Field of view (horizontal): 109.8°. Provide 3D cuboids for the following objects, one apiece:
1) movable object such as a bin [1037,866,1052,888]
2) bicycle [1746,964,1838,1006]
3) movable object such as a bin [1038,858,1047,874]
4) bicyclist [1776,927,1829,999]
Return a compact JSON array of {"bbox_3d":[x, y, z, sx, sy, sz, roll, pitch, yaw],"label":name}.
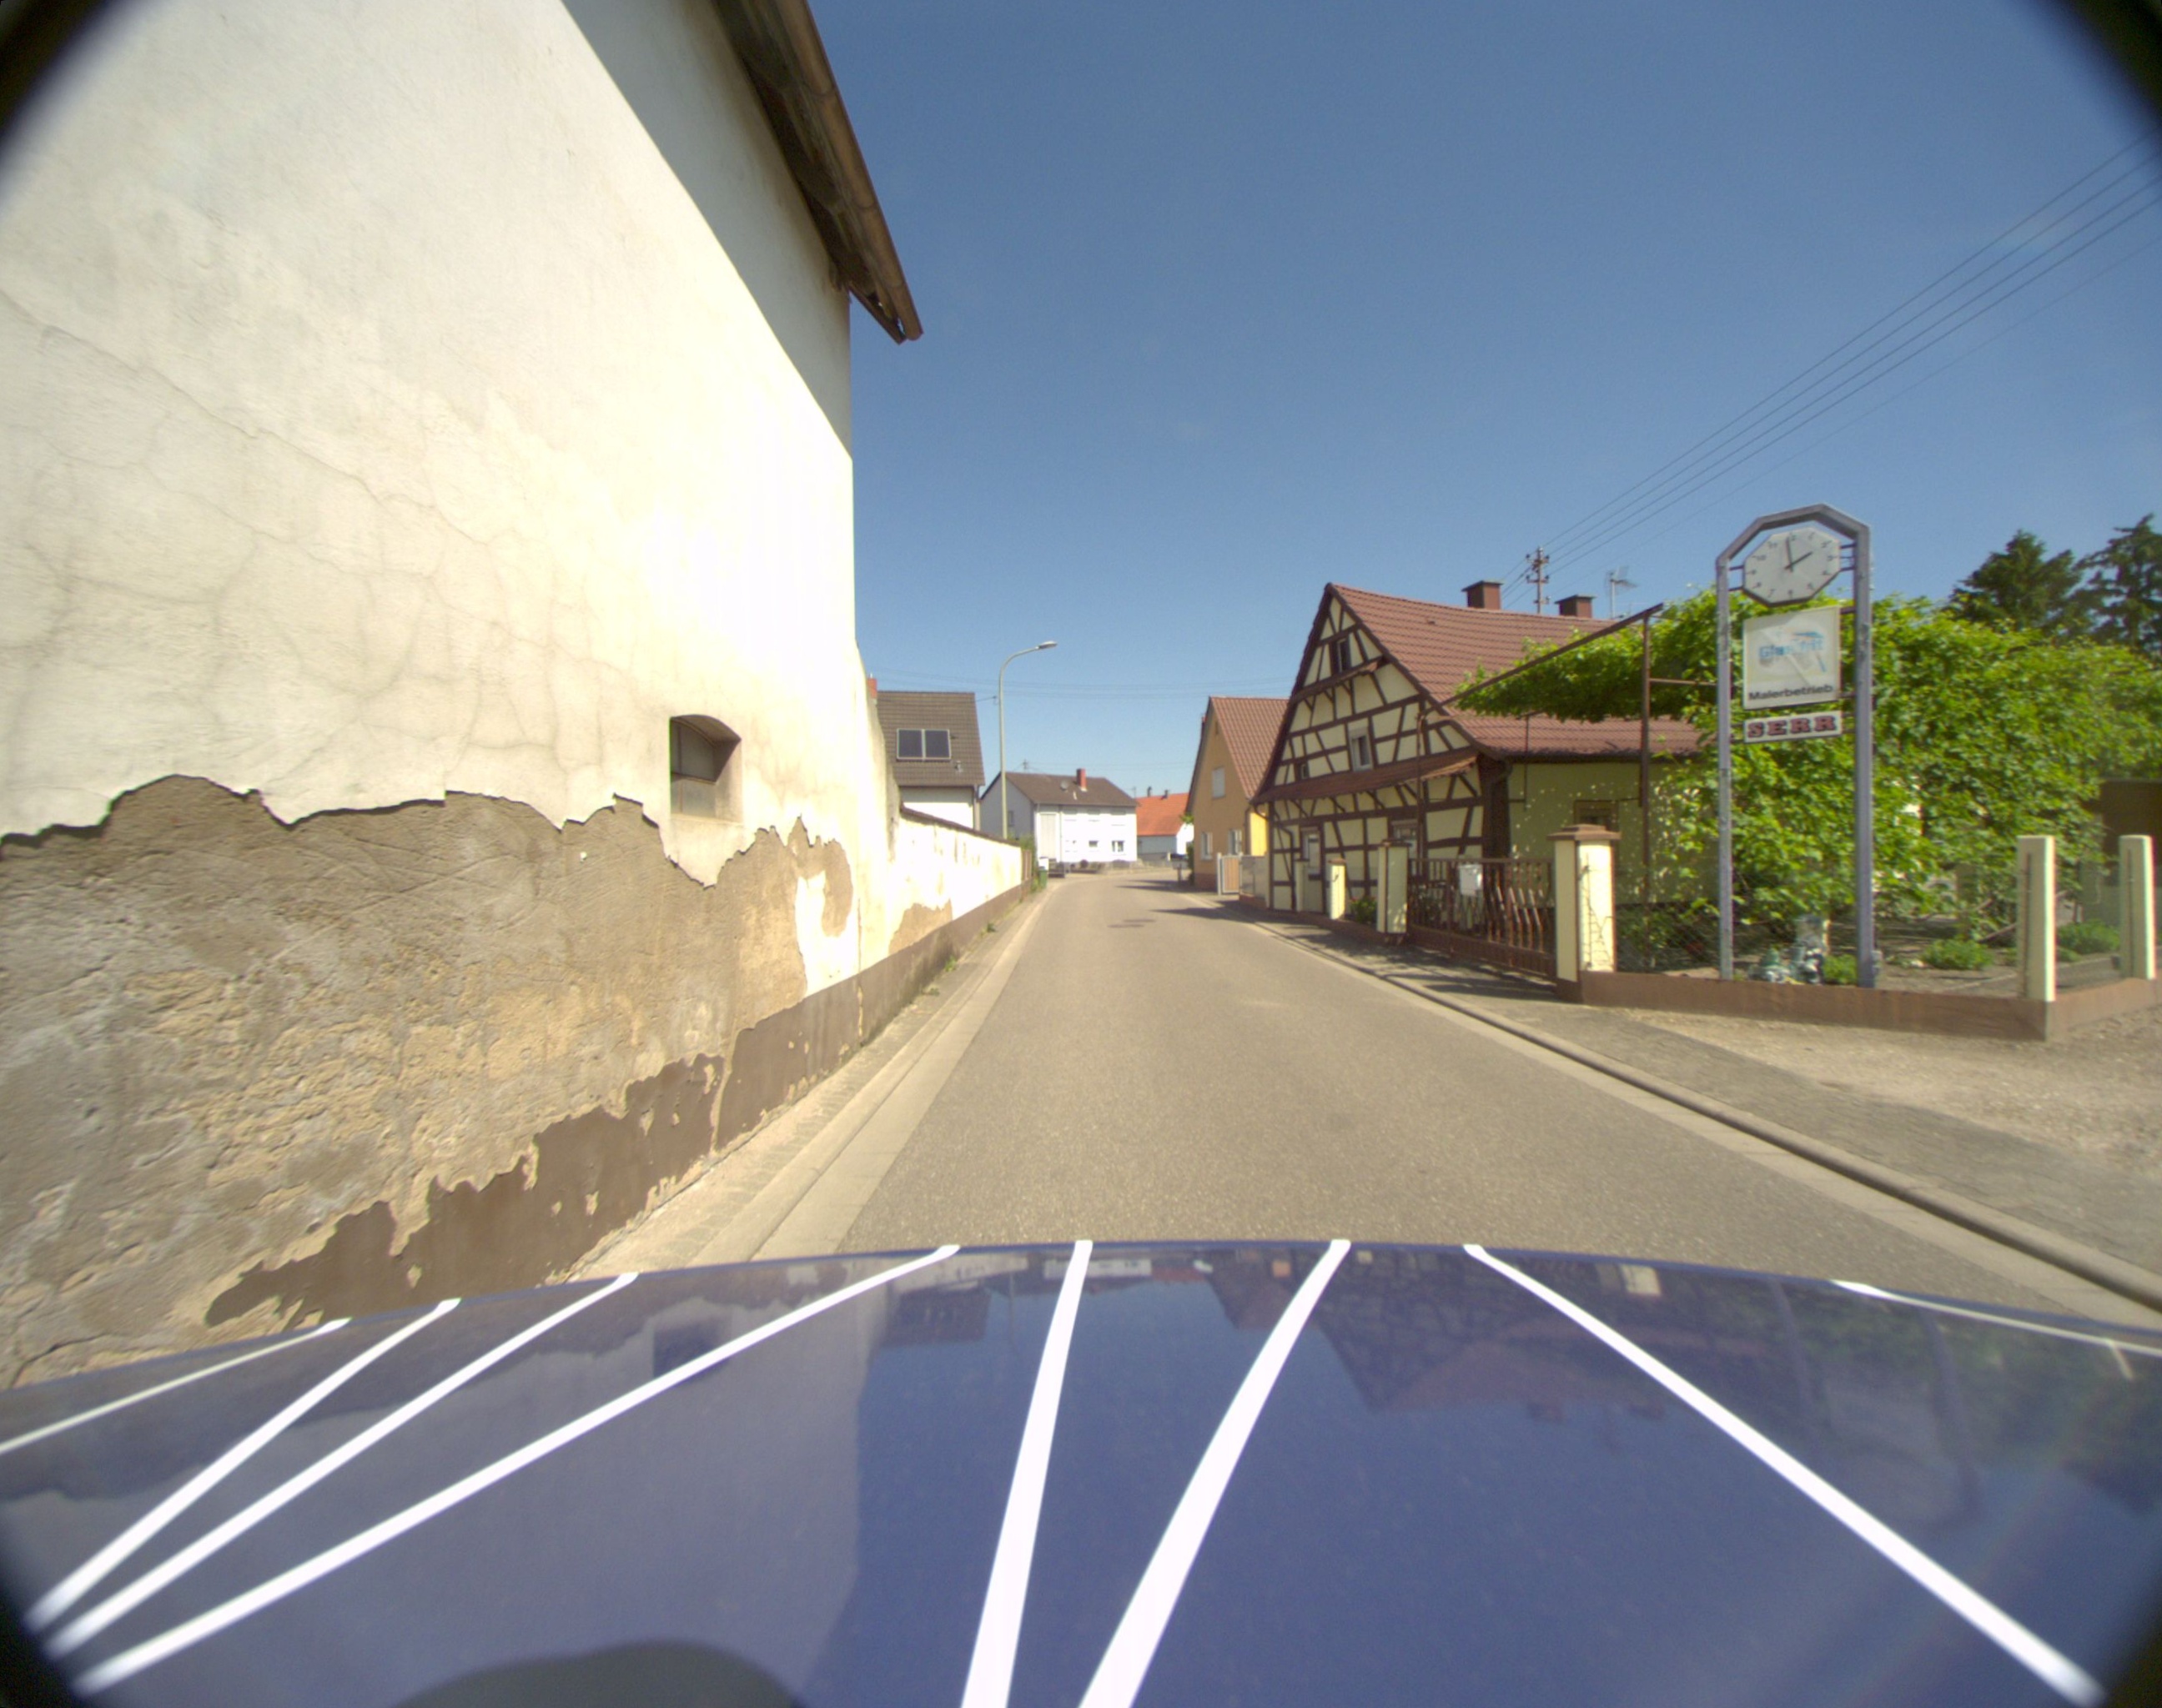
[{"bbox_3d":[-1.689,1.072,35.366,0.552,0.971,0.432,-1,1,-25],"label":"movable object such as a bin"},{"bbox_3d":[6.083,1.121,6.513,0.534,0.303,0.220,-1,1,16],"label":"bicycle"},{"bbox_3d":[-2.375,0.738,46.931,0.505,0.971,0.494,-2,1,0],"label":"movable object such as a bin"},{"bbox_3d":[6.154,0.928,6.486,0.246,0.579,0.218,-2,1,16],"label":"bicyclist"}]
